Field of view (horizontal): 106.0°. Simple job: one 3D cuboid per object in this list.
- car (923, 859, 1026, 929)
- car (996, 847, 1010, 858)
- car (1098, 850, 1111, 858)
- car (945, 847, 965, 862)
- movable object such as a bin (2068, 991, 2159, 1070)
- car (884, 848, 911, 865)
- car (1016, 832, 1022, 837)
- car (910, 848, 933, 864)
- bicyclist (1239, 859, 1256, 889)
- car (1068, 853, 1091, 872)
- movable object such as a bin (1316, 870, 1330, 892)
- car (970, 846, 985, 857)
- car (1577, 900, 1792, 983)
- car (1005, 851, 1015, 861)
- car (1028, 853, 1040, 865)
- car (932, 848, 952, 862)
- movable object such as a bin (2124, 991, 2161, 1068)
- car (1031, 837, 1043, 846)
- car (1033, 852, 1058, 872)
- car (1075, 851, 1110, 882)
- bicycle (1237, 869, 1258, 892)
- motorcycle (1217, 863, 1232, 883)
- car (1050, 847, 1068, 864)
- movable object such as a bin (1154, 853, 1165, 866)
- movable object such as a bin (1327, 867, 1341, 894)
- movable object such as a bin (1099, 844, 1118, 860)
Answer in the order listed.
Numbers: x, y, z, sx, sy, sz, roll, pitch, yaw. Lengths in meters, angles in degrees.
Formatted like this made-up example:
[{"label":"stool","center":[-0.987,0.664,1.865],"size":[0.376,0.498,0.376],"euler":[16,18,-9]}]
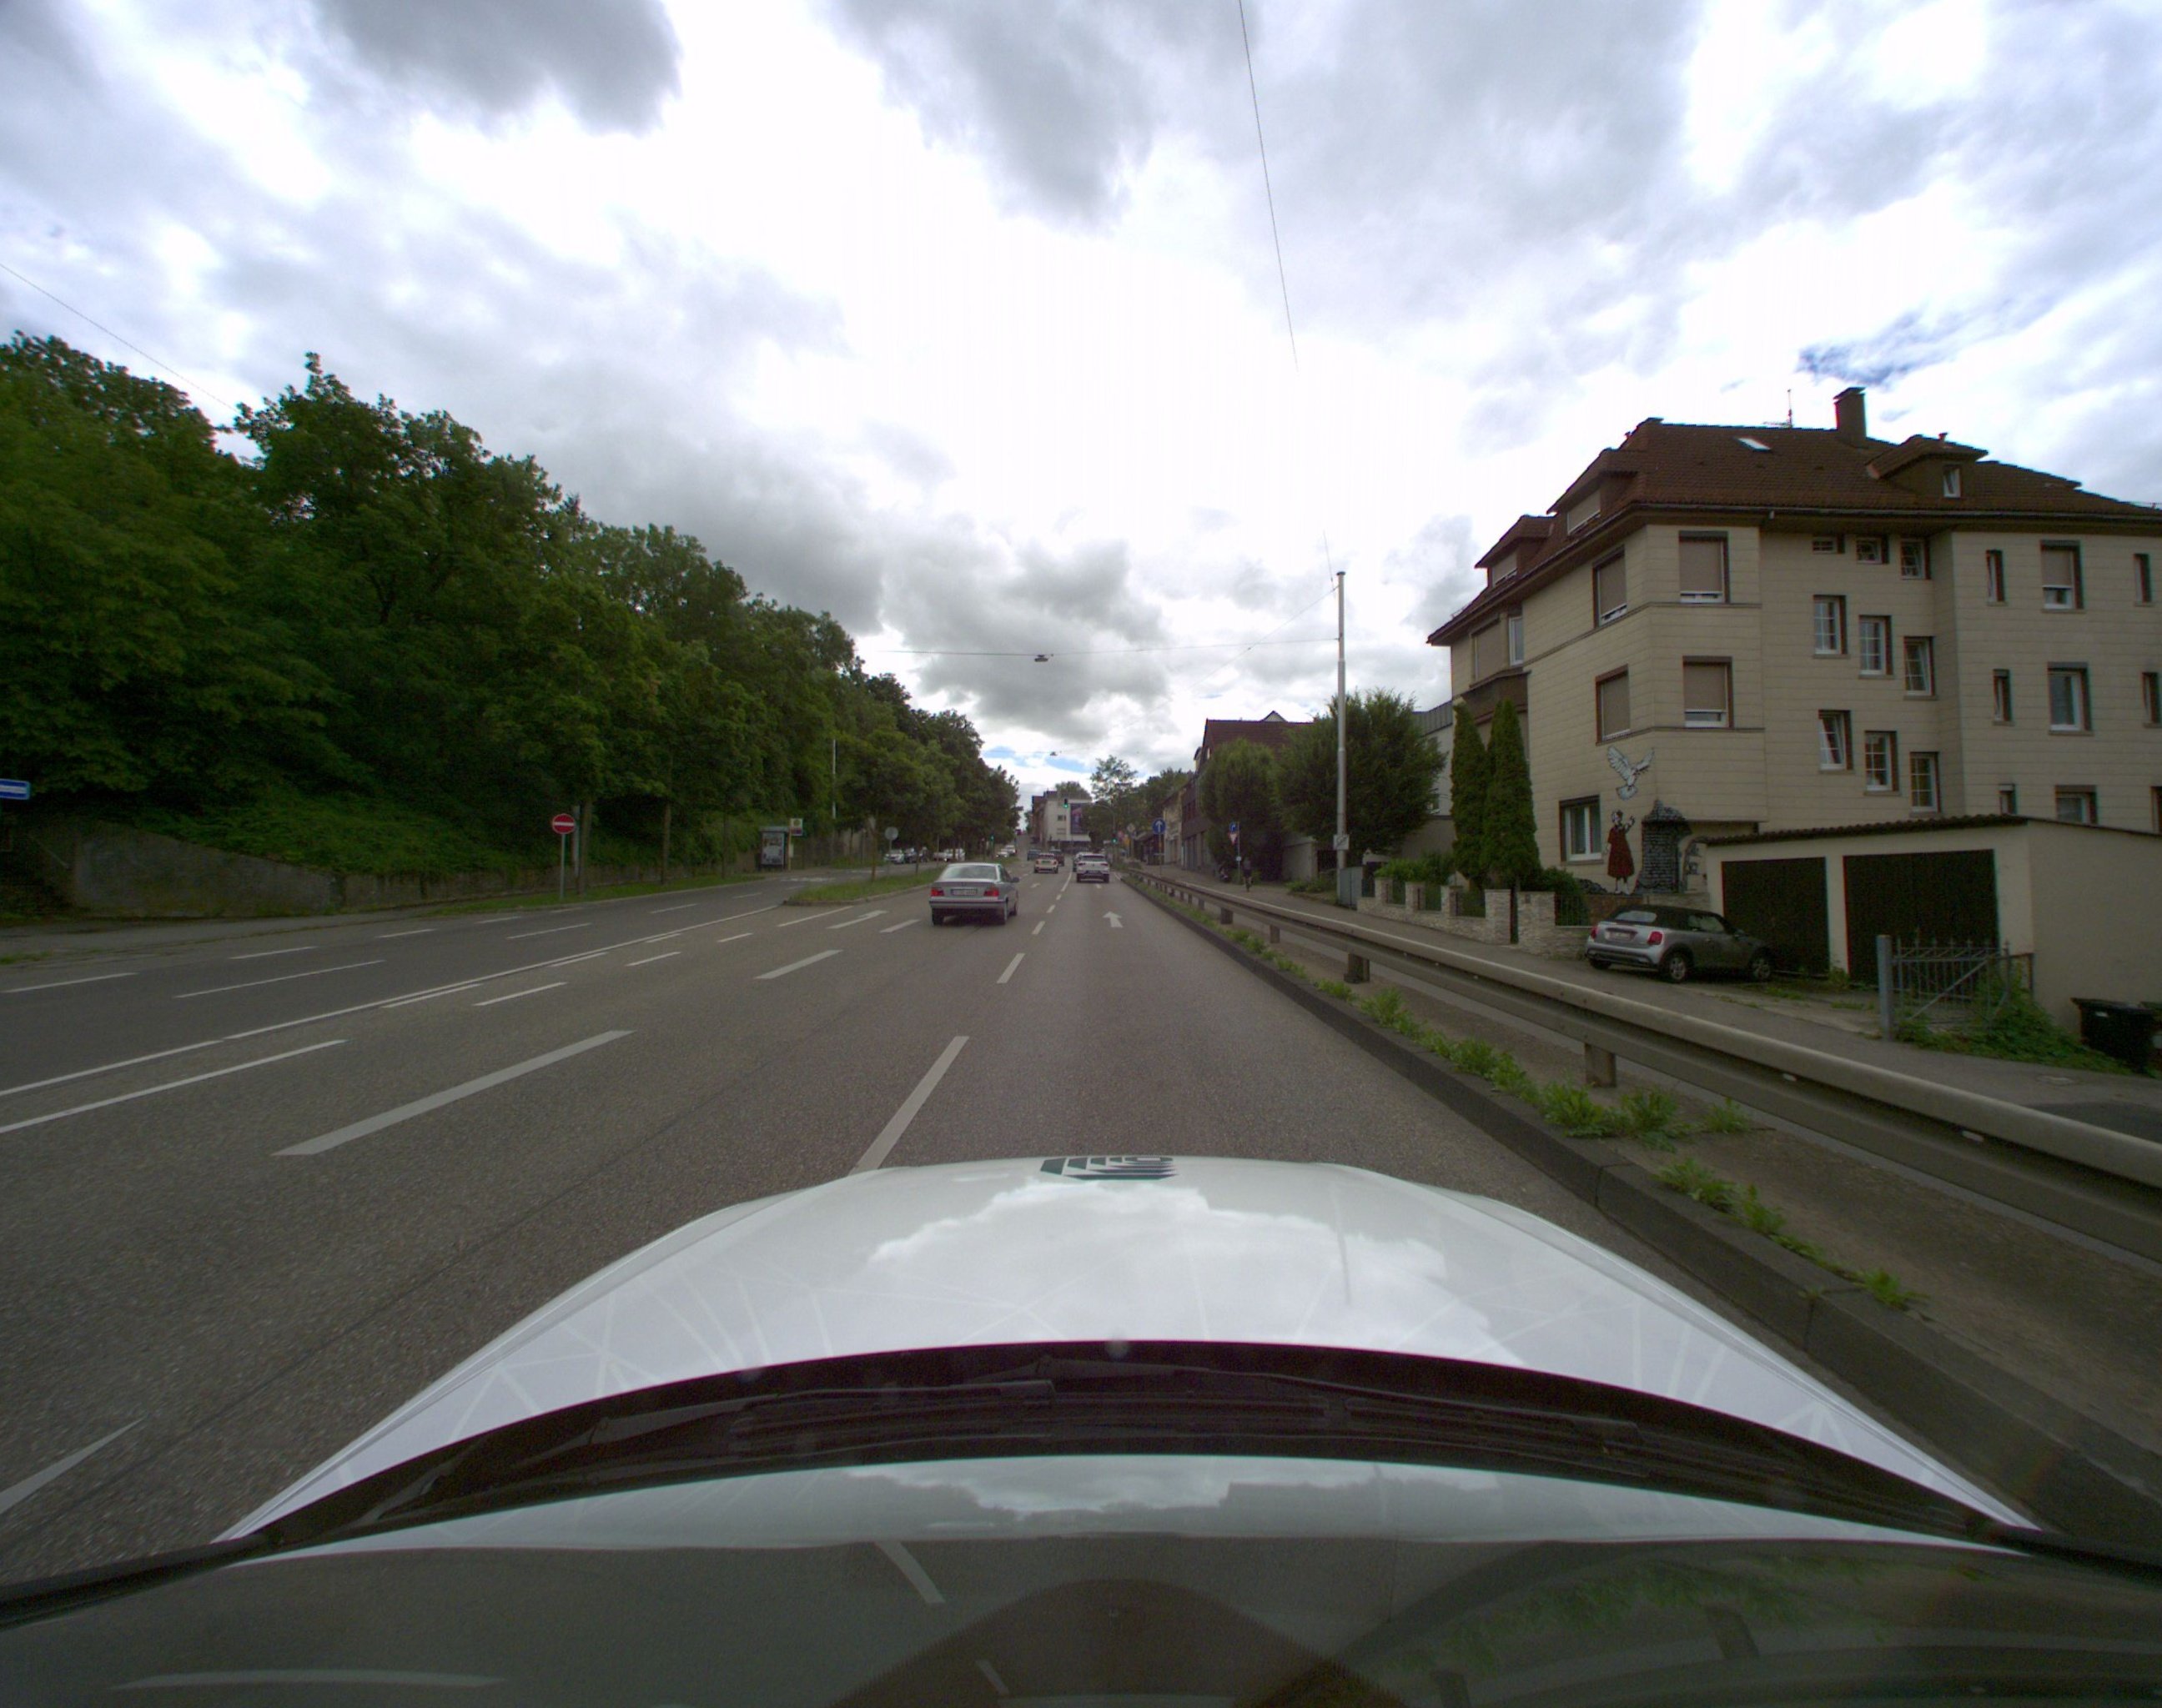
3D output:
[{"label":"car","center":[-2.394,0.850,19.443],"size":[1.628,1.383,4.623],"euler":[1,0,2]},{"label":"car","center":[-12.384,-0.249,128.940],"size":[1.855,1.541,4.276],"euler":[2,1,-2]},{"label":"car","center":[4.246,-0.032,148.677],"size":[1.711,1.376,3.468],"euler":[-3,-1,12]},{"label":"car","center":[-15.068,-0.008,97.558],"size":[1.855,1.670,4.277],"euler":[2,1,-1]},{"label":"movable object such as a bin","center":[15.130,2.574,11.948],"size":[0.531,1.005,0.623],"euler":[2,0,2]},{"label":"car","center":[-18.576,0.220,82.577],"size":[1.855,1.670,4.276],"euler":[2,1,-2]},{"label":"car","center":[-19.138,-6.115,251.536],"size":[1.819,1.508,3.995],"euler":[2,1,-4]},{"label":"car","center":[-18.091,0.251,92.522],"size":[1.855,1.670,4.276],"euler":[2,1,-2]},{"label":"bicyclist","center":[8.671,1.020,42.377],"size":[0.565,1.525,0.958],"euler":[-3,0,-2]},{"label":"car","center":[-0.132,0.627,63.592],"size":[1.718,1.376,3.454],"euler":[-2,-1,-2]},{"label":"movable object such as a bin","center":[12.124,1.329,40.807],"size":[0.493,1.057,0.538],"euler":[2,1,0]},{"label":"car","center":[-15.347,-0.325,120.703],"size":[1.855,1.541,4.276],"euler":[2,1,-2]},{"label":"car","center":[12.202,1.719,16.514],"size":[3.611,1.435,1.695],"euler":[1,0,-17]},{"label":"car","center":[-12.927,0.364,148.245],"size":[1.664,1.865,3.243],"euler":[-2,1,-1]},{"label":"car","center":[-6.803,0.739,118.637],"size":[1.719,1.583,3.453],"euler":[-2,-1,-3]},{"label":"car","center":[-17.757,0.113,104.261],"size":[1.855,1.593,4.276],"euler":[2,1,-2]},{"label":"movable object such as a bin","center":[16.154,2.617,12.083],"size":[0.575,1.046,0.589],"euler":[2,0,2]},{"label":"car","center":[-10.833,-3.060,200.252],"size":[2.502,2.013,5.181],"euler":[2,1,0]},{"label":"car","center":[-2.606,0.577,59.269],"size":[1.719,1.376,3.452],"euler":[-2,-1,-3]},{"label":"car","center":[0.610,0.677,44.521],"size":[1.791,1.519,3.456],"euler":[-2,-1,0]},{"label":"bicycle","center":[8.691,1.367,42.484],"size":[0.565,1.063,2.004],"euler":[-3,1,-2]},{"label":"motorcycle","center":[9.036,1.168,51.273],"size":[0.606,1.162,2.041],"euler":[-1,1,1]},{"label":"car","center":[-2.245,0.183,83.124],"size":[1.719,1.640,3.453],"euler":[-2,-1,-3]},{"label":"movable object such as a bin","center":[9.093,0.604,94.072],"size":[1.192,1.408,0.711],"euler":[2,0,-1]},{"label":"movable object such as a bin","center":[12.650,1.321,40.777],"size":[0.493,1.272,0.538],"euler":[2,0,0]},{"label":"movable object such as a bin","center":[3.267,-0.225,97.049],"size":[1.891,1.870,1.524],"euler":[2,0,-9]}]
